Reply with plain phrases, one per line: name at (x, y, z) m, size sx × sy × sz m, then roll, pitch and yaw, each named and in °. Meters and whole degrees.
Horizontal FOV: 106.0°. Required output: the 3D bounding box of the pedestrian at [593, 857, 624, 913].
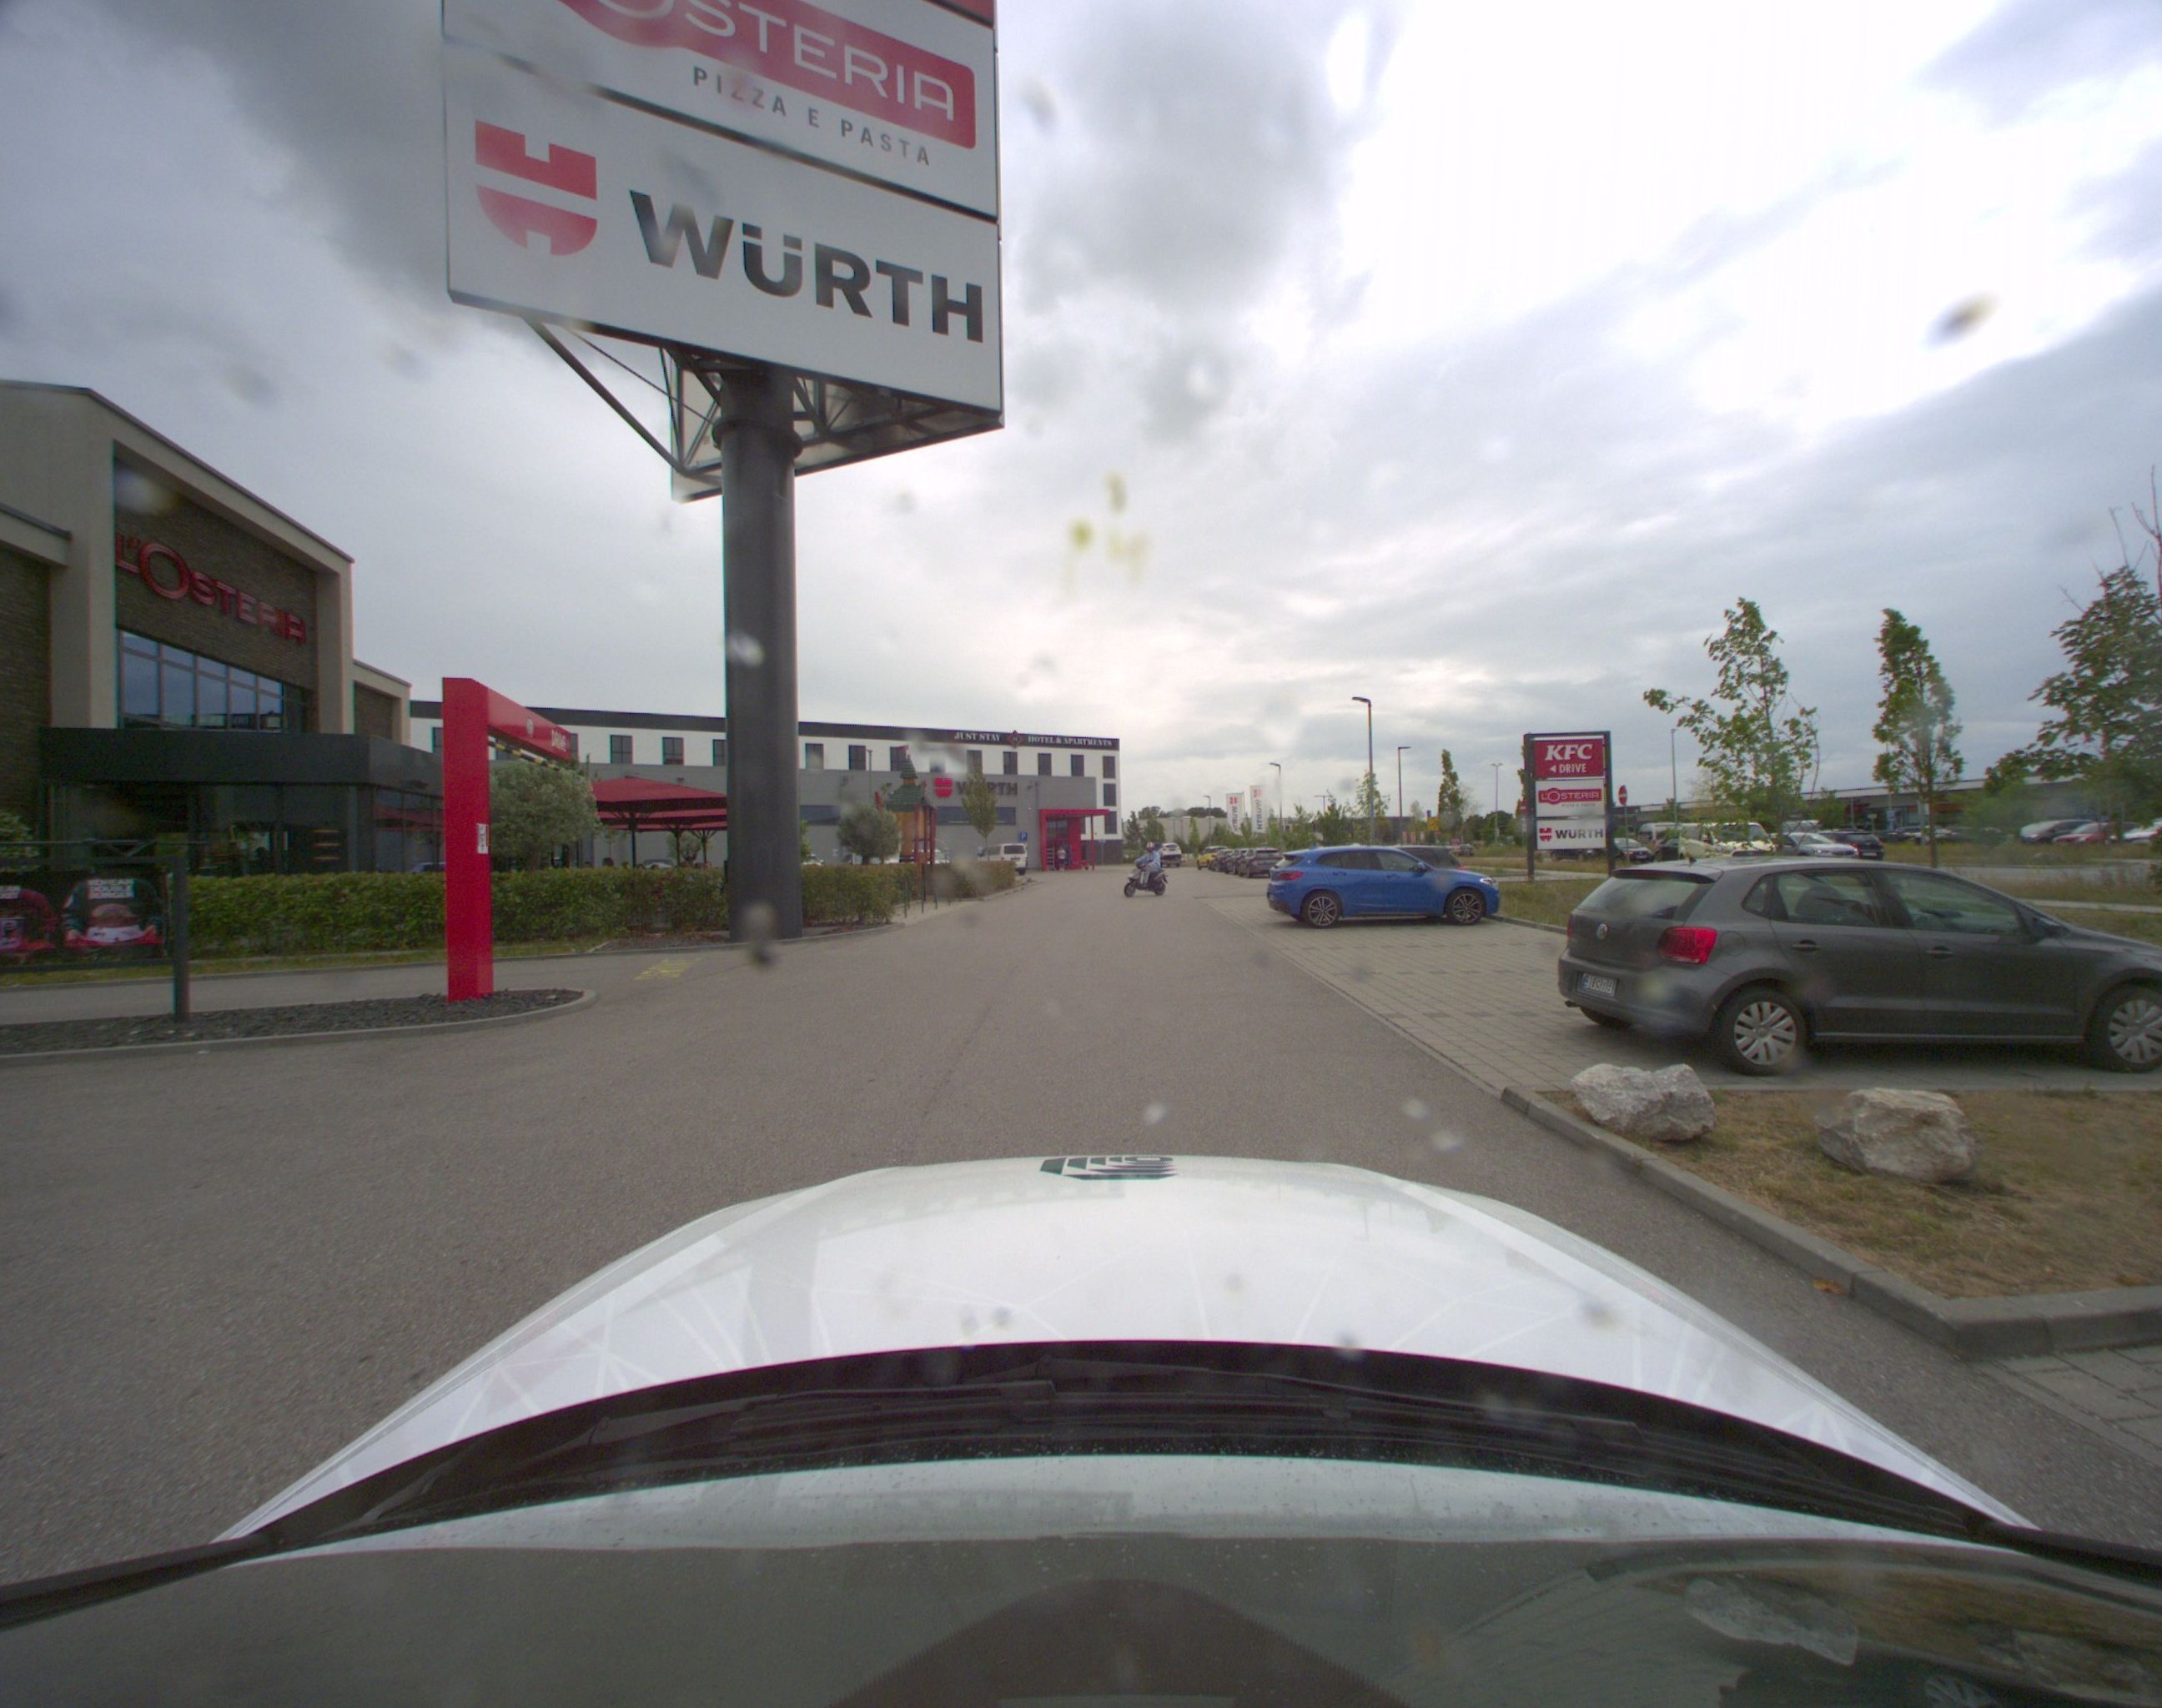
pedestrian at (-10.405, 0.678, 17.936) m, size 0.420 × 1.199 × 0.455 m, roll -3°, pitch 0°, yaw -13°

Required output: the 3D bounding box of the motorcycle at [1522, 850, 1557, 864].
motorcycle at (26.344, 0.178, 46.822) m, size 0.811 × 0.773 × 2.026 m, roll -3°, pitch -1°, yaw 0°

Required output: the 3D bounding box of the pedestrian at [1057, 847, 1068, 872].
pedestrian at (-1.306, 0.393, 57.624) m, size 0.624 × 1.751 × 0.901 m, roll -1°, pitch 0°, yaw -13°

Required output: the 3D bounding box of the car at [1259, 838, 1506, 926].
car at (5.765, 0.520, 16.009) m, size 4.184 × 1.544 × 1.866 m, roll -1°, pitch 0°, yaw 3°

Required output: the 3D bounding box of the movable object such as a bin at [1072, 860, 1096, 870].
movable object such as a bin at (0.222, 0.818, 60.363) m, size 1.493 × 0.704 × 0.958 m, roll 0°, pitch -1°, yaw -21°

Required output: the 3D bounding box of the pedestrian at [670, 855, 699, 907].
pedestrian at (-13.587, 0.915, 27.933) m, size 0.743 × 1.748 × 0.699 m, roll -3°, pitch 0°, yaw -21°

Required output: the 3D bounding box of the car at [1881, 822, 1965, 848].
car at (66.919, -1.473, 64.805) m, size 1.999 × 1.837 × 4.162 m, roll -3°, pitch 0°, yaw -17°

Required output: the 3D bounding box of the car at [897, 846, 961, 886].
car at (-7.181, 0.566, 38.145) m, size 2.002 × 1.650 × 4.543 m, roll -3°, pitch 0°, yaw -22°

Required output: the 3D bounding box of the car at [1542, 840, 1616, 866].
car at (29.530, -0.067, 48.424) m, size 1.758 × 1.395 × 4.217 m, roll -2°, pitch 0°, yaw -1°

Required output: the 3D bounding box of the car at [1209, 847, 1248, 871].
car at (9.480, 0.333, 52.712) m, size 1.746 × 1.469 × 4.106 m, roll -1°, pitch 0°, yaw -1°

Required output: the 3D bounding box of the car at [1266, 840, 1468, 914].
car at (6.425, 0.492, 18.652) m, size 4.042 × 1.459 × 1.779 m, roll -2°, pitch 1°, yaw 5°

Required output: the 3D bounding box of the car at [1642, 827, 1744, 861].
car at (29.727, -0.458, 39.729) m, size 1.843 × 1.499 × 4.287 m, roll -2°, pitch 0°, yaw 2°

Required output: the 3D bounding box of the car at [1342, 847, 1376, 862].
car at (27.725, 0.005, 81.246) m, size 1.758 × 1.395 × 4.556 m, roll -2°, pitch 0°, yaw -1°

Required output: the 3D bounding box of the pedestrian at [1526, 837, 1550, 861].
pedestrian at (26.311, -0.289, 46.851) m, size 0.801 × 1.282 × 0.898 m, roll -2°, pitch -2°, yaw -1°

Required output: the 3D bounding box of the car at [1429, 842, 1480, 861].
car at (33.563, -0.240, 73.341) m, size 1.795 × 1.552 × 4.841 m, roll -3°, pitch 0°, yaw -8°

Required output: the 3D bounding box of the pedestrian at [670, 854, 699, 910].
pedestrian at (-8.703, 0.613, 17.899) m, size 0.420 × 1.199 × 0.455 m, roll -3°, pitch 0°, yaw -13°

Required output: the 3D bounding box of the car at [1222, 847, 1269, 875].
car at (9.280, 0.366, 46.326) m, size 1.746 × 1.469 × 4.474 m, roll -1°, pitch 0°, yaw -1°

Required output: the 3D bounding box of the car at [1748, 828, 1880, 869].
car at (29.170, -0.220, 32.590) m, size 1.816 × 1.459 × 4.005 m, roll -3°, pitch 0°, yaw 4°

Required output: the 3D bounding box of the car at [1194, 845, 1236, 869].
car at (9.712, 0.226, 59.221) m, size 1.856 × 1.650 × 3.988 m, roll 0°, pitch -1°, yaw -9°

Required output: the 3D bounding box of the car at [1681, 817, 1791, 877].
car at (24.957, -0.291, 31.275) m, size 1.975 × 2.086 × 5.260 m, roll -2°, pitch 1°, yaw 24°

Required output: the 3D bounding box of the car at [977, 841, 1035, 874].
car at (-4.830, 0.261, 51.801) m, size 2.068 × 1.855 × 4.022 m, roll -5°, pitch 1°, yaw -30°

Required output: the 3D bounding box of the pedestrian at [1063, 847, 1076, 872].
pedestrian at (-0.834, 0.394, 59.567) m, size 0.679 × 1.802 × 0.874 m, roll -1°, pitch 0°, yaw -20°

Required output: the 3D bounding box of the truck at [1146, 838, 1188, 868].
truck at (7.929, -0.043, 75.724) m, size 2.328 × 2.407 × 7.879 m, roll 0°, pitch -3°, yaw -5°

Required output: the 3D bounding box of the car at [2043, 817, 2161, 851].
car at (52.833, -1.027, 42.190) m, size 4.036 × 1.539 × 1.904 m, roll -3°, pitch 0°, yaw -6°

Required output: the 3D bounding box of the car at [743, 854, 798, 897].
car at (-13.511, 0.898, 35.337) m, size 2.002 × 1.650 × 4.543 m, roll -3°, pitch 0°, yaw -22°

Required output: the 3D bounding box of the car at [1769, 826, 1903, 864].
car at (33.347, -0.363, 36.164) m, size 1.917 × 1.486 × 4.422 m, roll -3°, pitch 0°, yaw 2°

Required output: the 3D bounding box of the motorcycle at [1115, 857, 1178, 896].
motorcycle at (2.129, 0.704, 26.439) m, size 1.928 × 1.208 × 0.787 m, roll 0°, pitch -1°, yaw -31°

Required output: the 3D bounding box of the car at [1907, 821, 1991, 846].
car at (69.712, -1.619, 65.502) m, size 1.998 × 1.837 × 4.164 m, roll -3°, pitch 0°, yaw -15°

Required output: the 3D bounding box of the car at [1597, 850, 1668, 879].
car at (26.674, 0.483, 39.488) m, size 1.455 × 1.336 × 3.166 m, roll -1°, pitch 0°, yaw 3°

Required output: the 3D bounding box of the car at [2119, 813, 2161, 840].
car at (77.734, -2.034, 58.020) m, size 1.995 × 1.837 × 4.170 m, roll -3°, pitch 0°, yaw -12°

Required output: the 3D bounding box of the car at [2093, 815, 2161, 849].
car at (52.246, -1.110, 39.536) m, size 4.050 × 1.501 × 1.863 m, roll -3°, pitch 0°, yaw -2°

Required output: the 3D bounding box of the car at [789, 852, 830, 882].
car at (-15.783, 0.776, 47.246) m, size 1.745 × 1.552 × 4.229 m, roll -3°, pitch 0°, yaw -25°

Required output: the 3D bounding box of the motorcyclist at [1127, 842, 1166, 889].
motorcyclist at (2.132, 0.377, 26.439) m, size 0.944 × 1.489 × 0.822 m, roll 0°, pitch -1°, yaw -31°

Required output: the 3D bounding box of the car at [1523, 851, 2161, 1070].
car at (5.808, 0.695, 6.209) m, size 3.974 × 1.428 × 1.727 m, roll 0°, pitch 0°, yaw 0°

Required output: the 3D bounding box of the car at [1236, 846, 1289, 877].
car at (8.980, 0.350, 40.571) m, size 1.745 × 1.469 × 4.478 m, roll -1°, pitch 0°, yaw 2°
